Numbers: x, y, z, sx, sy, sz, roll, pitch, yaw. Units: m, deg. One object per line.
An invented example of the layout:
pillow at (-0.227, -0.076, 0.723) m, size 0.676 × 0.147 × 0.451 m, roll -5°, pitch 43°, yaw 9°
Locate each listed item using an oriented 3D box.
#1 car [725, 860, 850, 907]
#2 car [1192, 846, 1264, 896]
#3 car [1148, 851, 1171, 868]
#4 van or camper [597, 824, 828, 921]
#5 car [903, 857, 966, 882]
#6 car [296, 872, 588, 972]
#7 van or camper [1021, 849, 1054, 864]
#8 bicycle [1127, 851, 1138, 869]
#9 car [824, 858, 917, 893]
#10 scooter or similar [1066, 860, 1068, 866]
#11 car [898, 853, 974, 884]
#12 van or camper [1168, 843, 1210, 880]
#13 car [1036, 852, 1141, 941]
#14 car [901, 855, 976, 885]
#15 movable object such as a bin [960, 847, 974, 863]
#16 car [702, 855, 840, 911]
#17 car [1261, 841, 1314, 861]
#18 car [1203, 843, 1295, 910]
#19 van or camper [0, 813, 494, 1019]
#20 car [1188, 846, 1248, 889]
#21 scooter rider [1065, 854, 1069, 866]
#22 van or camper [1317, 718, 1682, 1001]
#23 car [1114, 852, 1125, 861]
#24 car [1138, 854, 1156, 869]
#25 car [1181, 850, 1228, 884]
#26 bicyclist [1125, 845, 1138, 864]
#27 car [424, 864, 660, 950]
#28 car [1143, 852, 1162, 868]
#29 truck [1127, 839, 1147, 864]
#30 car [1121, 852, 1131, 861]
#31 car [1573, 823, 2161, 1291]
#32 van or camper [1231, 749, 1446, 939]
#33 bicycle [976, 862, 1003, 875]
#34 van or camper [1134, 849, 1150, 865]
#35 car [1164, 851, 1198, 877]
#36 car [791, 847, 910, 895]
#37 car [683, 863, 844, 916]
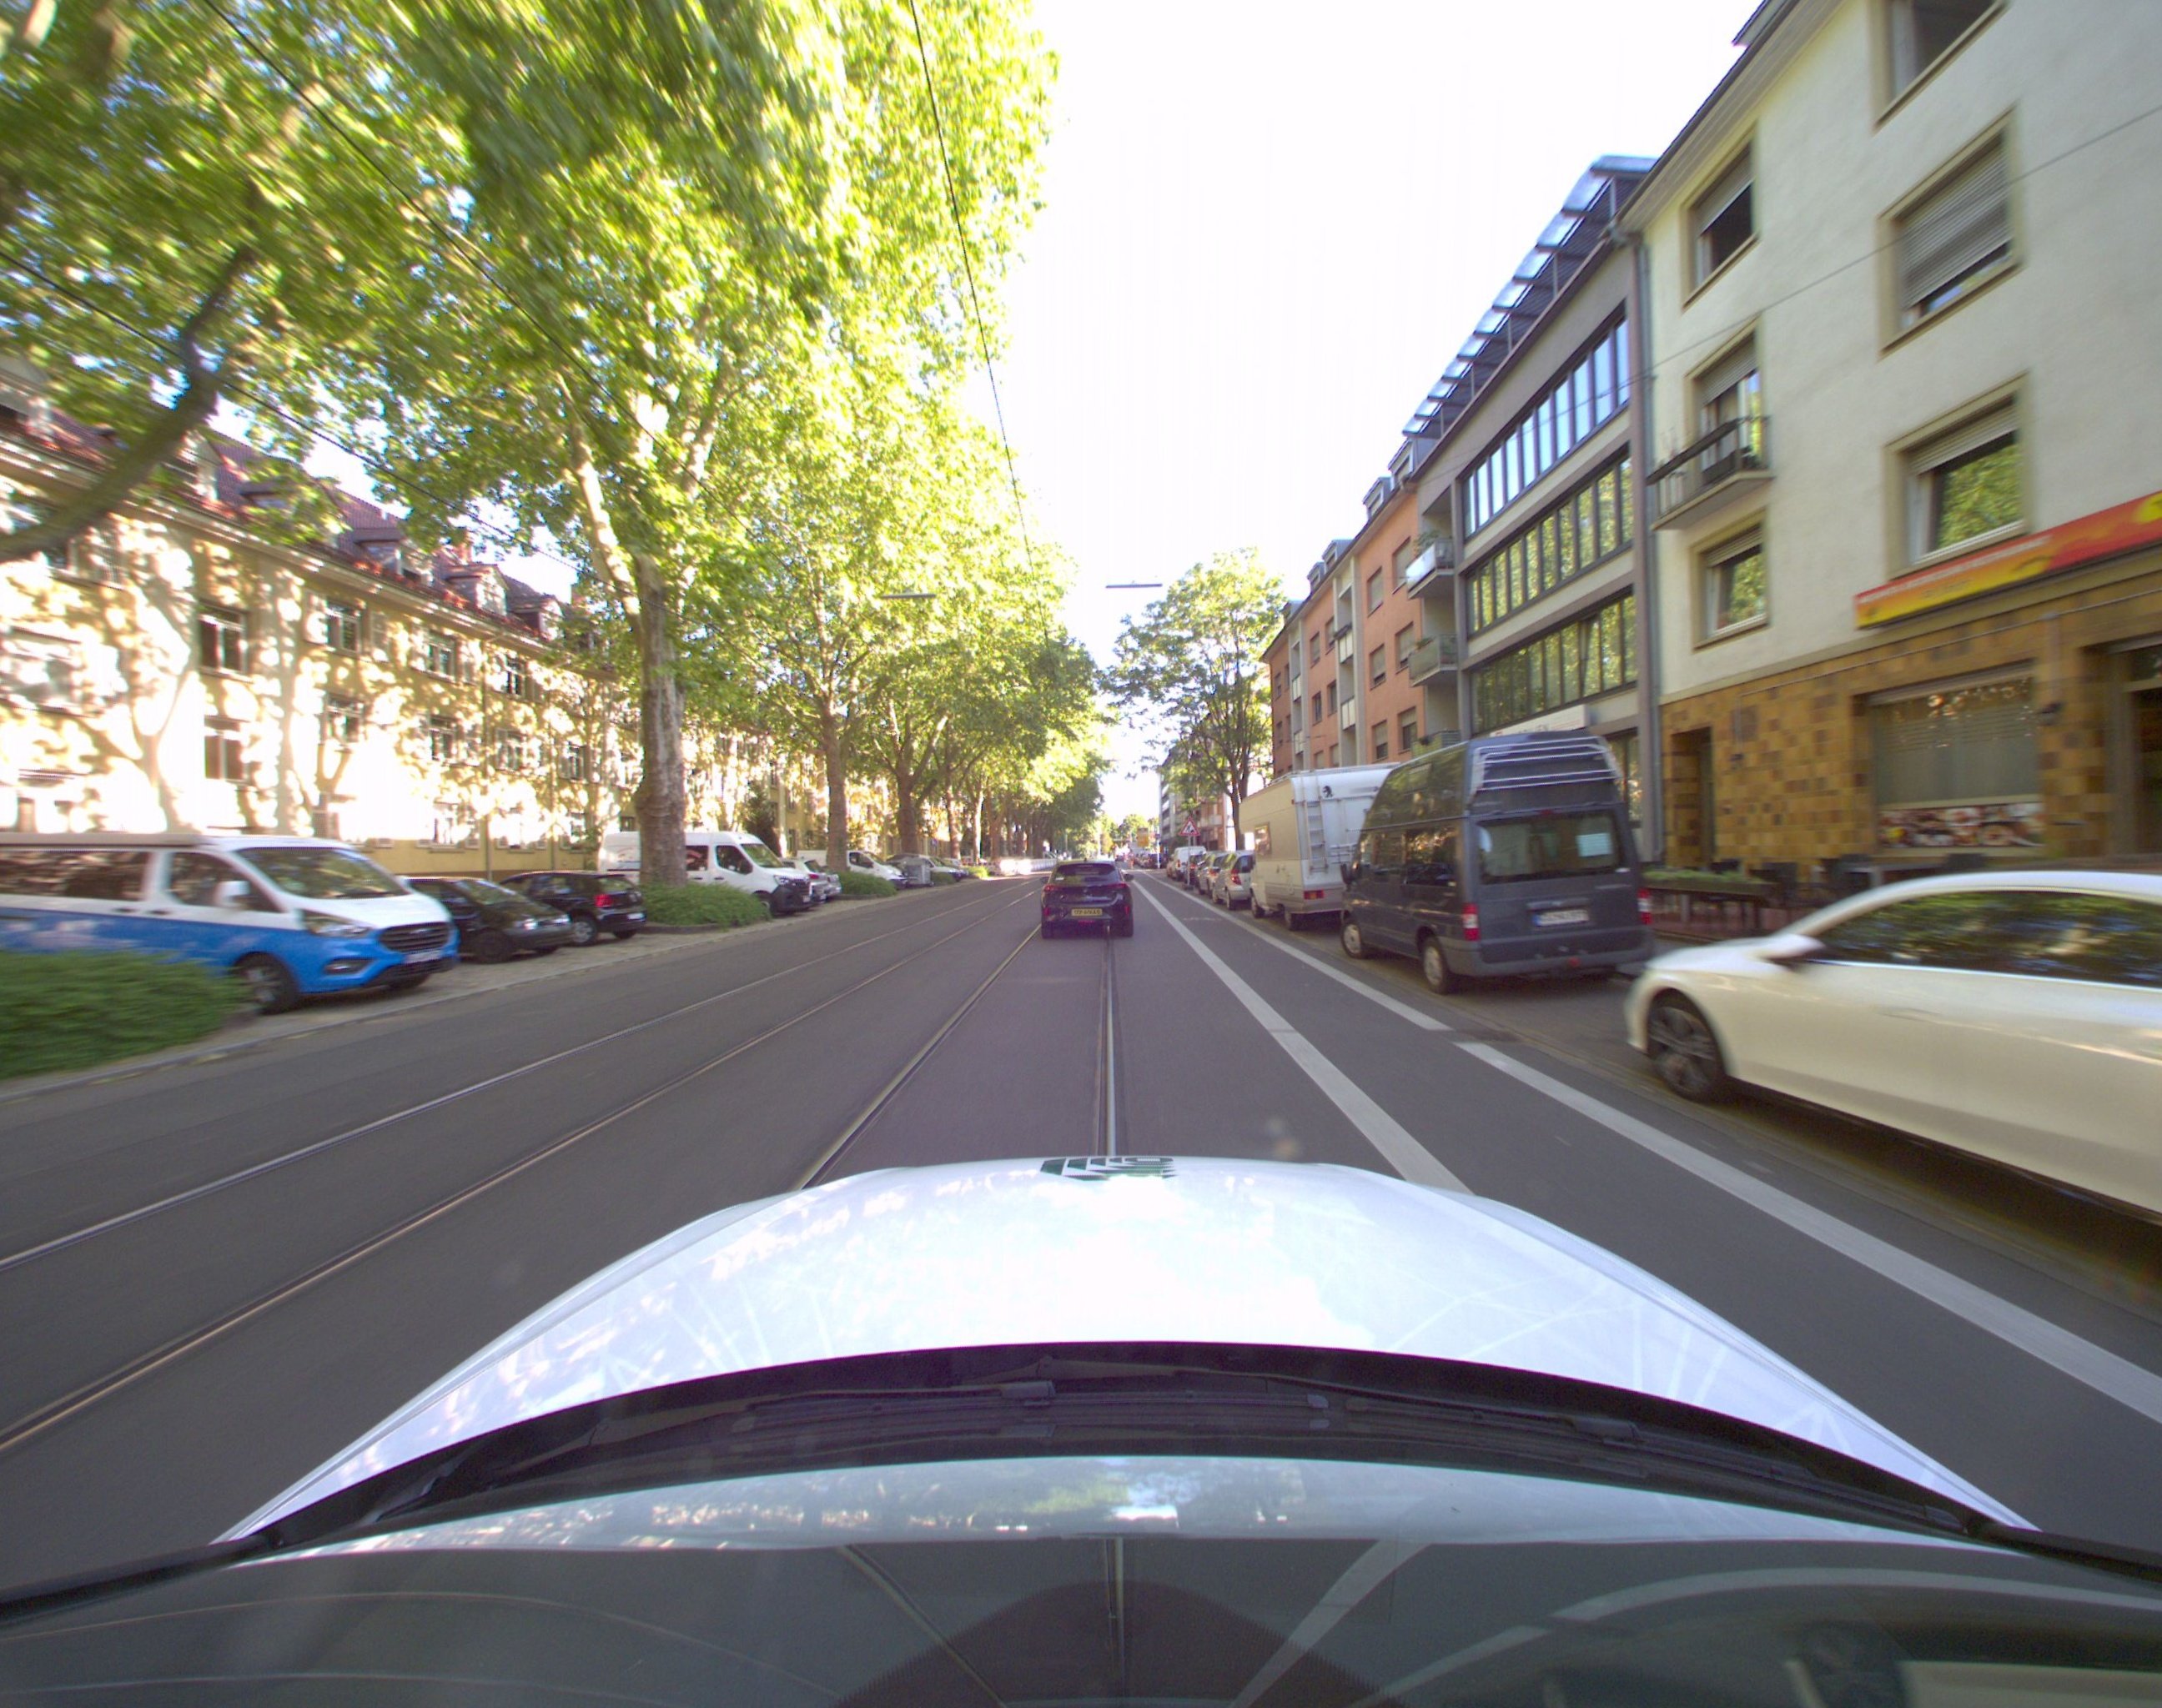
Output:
car at (-10.657, 1.053, 29.752) m, size 3.832 × 1.498 × 1.863 m, roll -2°, pitch 0°, yaw 2°
car at (5.077, 0.545, 28.590) m, size 1.781 × 1.522 × 4.323 m, roll -4°, pitch 0°, yaw 1°
car at (7.123, 0.491, 74.131) m, size 1.727 × 1.462 × 3.917 m, roll -4°, pitch 0°, yaw 1°
van or camper at (-10.276, 0.499, 23.037) m, size 5.366 × 2.516 × 2.447 m, roll -1°, pitch 0°, yaw 3°
car at (-9.966, 1.031, 55.568) m, size 3.832 × 1.498 × 1.863 m, roll -2°, pitch 0°, yaw 2°
car at (-10.718, 1.098, 13.886) m, size 3.524 × 1.459 × 1.694 m, roll -1°, pitch 0°, yaw -5°
van or camper at (-7.762, 0.440, 147.033) m, size 5.701 × 2.644 × 2.270 m, roll -1°, pitch -1°, yaw 2°
bicycle at (4.641, 0.562, 73.573) m, size 0.912 × 1.561 × 3.407 m, roll -1°, pitch 0°, yaw 3°
car at (-9.981, 1.001, 38.855) m, size 3.832 × 1.498 × 1.863 m, roll -2°, pitch 0°, yaw 2°
scooter or similar at (-2.395, 1.509, 139.284) m, size 0.406 × 1.083 × 1.339 m, roll -1°, pitch -1°, yaw 2°
car at (-8.739, 0.880, 49.176) m, size 4.181 × 1.757 × 1.741 m, roll -1°, pitch 0°, yaw 2°
van or camper at (5.845, 0.383, 44.432) m, size 1.748 × 1.864 × 4.832 m, roll -2°, pitch 0°, yaw 2°
car at (0.186, 0.731, 16.013) m, size 1.775 × 1.496 × 4.001 m, roll -1°, pitch 0°, yaw 1°
car at (-8.943, 0.995, 51.361) m, size 4.210 × 1.688 × 1.938 m, roll -2°, pitch 0°, yaw 8°
movable object such as a bin at (-13.622, 0.092, 97.181) m, size 1.328 × 1.869 × 2.008 m, roll -1°, pitch -1°, yaw 2°
car at (-10.376, 0.946, 27.417) m, size 3.832 × 1.663 × 1.863 m, roll -2°, pitch 0°, yaw 2°
car at (16.599, -0.235, 65.558) m, size 3.900 × 1.482 × 1.562 m, roll -2°, pitch 3°, yaw 0°
car at (4.730, 0.587, 23.456) m, size 1.786 × 1.628 × 4.278 m, roll -4°, pitch 0°, yaw 1°
van or camper at (-10.460, 0.687, 10.024) m, size 4.807 × 2.190 × 2.118 m, roll -1°, pitch 0°, yaw -2°
car at (5.603, 0.523, 33.719) m, size 1.761 × 1.572 × 4.338 m, roll -4°, pitch 0°, yaw 1°
scooter rider at (-2.401, 0.996, 139.197) m, size 0.647 × 1.957 × 0.624 m, roll -1°, pitch -1°, yaw 2°
van or camper at (4.843, 0.055, 10.527) m, size 2.124 × 2.663 × 4.981 m, roll -4°, pitch 0°, yaw 1°
car at (7.523, 0.483, 160.632) m, size 1.986 × 1.695 × 4.741 m, roll -4°, pitch 0°, yaw 1°
car at (7.163, 0.785, 88.285) m, size 1.653 × 1.399 × 4.741 m, roll -4°, pitch 0°, yaw 2°
car at (5.808, 0.567, 38.797) m, size 1.699 × 1.473 × 4.169 m, roll -2°, pitch 0°, yaw 2°
bicyclist at (4.543, 0.049, 73.623) m, size 1.085 × 1.647 × 1.401 m, roll -1°, pitch 0°, yaw 2°
car at (-10.671, 1.017, 16.270) m, size 3.665 × 1.565 × 1.615 m, roll -1°, pitch 0°, yaw 4°
car at (7.274, 0.604, 83.070) m, size 1.585 × 1.526 × 3.837 m, roll -4°, pitch -1°, yaw 2°
truck at (7.930, -0.314, 115.890) m, size 2.528 × 3.338 × 7.199 m, roll -4°, pitch -1°, yaw 2°
car at (9.699, 0.566, 177.222) m, size 1.986 × 1.695 × 4.741 m, roll -4°, pitch 0°, yaw 1°
car at (4.595, 0.650, 3.659) m, size 1.986 × 1.493 × 4.742 m, roll -4°, pitch 0°, yaw 2°
van or camper at (4.937, -0.171, 16.915) m, size 2.453 × 3.064 × 6.270 m, roll -4°, pitch 0°, yaw 1°
bicycle at (-7.311, 1.194, 65.202) m, size 1.964 × 0.963 × 0.726 m, roll -2°, pitch 0°, yaw 2°
van or camper at (7.375, 0.357, 98.843) m, size 1.662 × 1.883 × 4.213 m, roll -3°, pitch 0°, yaw 2°
car at (6.090, 0.602, 49.889) m, size 1.699 × 1.473 × 4.002 m, roll -2°, pitch 0°, yaw 2°
car at (-10.102, 0.734, 36.002) m, size 4.644 × 1.945 × 1.960 m, roll -1°, pitch 0°, yaw -2°
car at (-9.749, 1.068, 25.219) m, size 4.248 × 1.398 × 1.754 m, roll -2°, pitch 0°, yaw 2°
